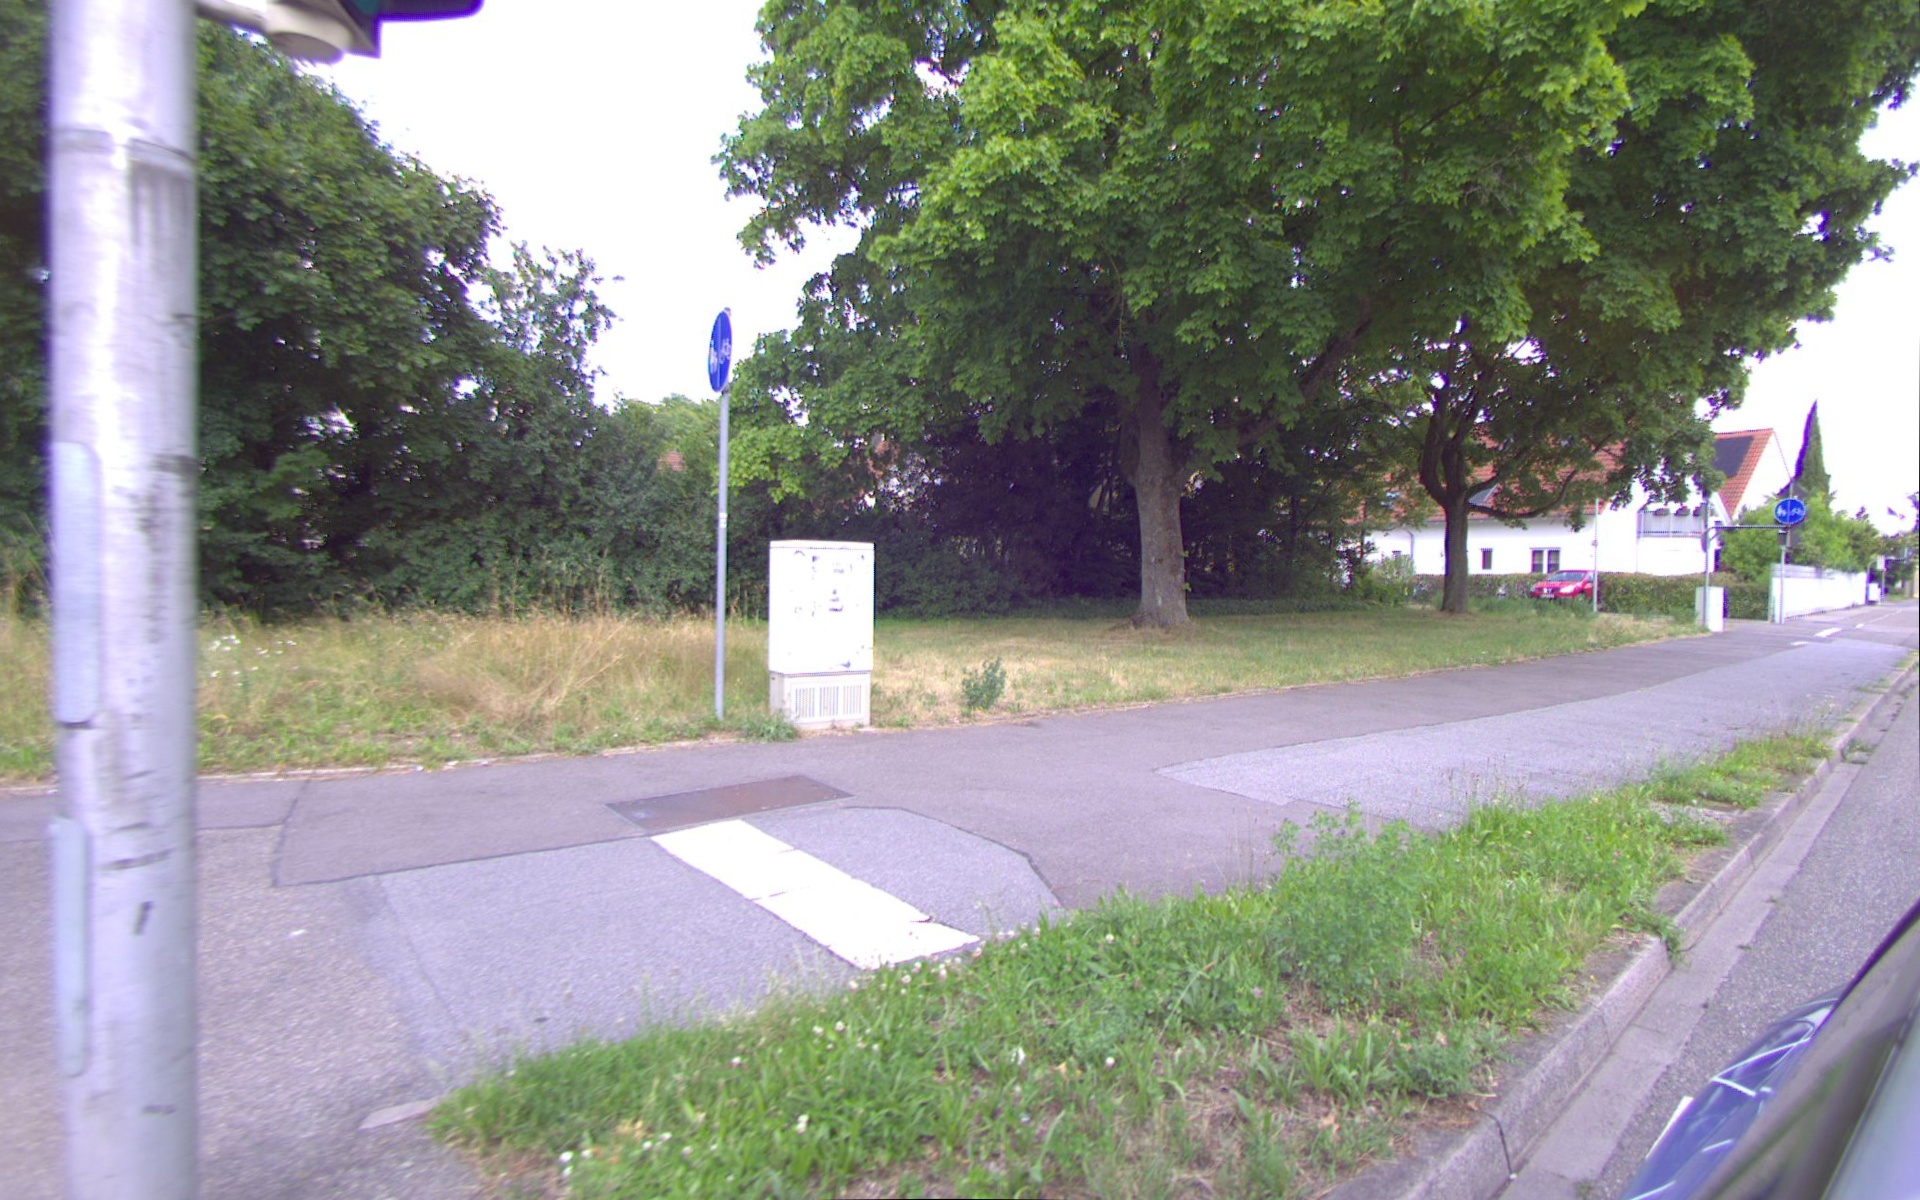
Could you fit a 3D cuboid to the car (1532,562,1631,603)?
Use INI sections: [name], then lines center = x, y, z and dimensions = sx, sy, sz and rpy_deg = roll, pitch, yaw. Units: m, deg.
[car]
center = 24.695, -0.719, 40.187
dimensions = 4.308, 1.549, 1.683
rpy_deg = 0, 2, -33
